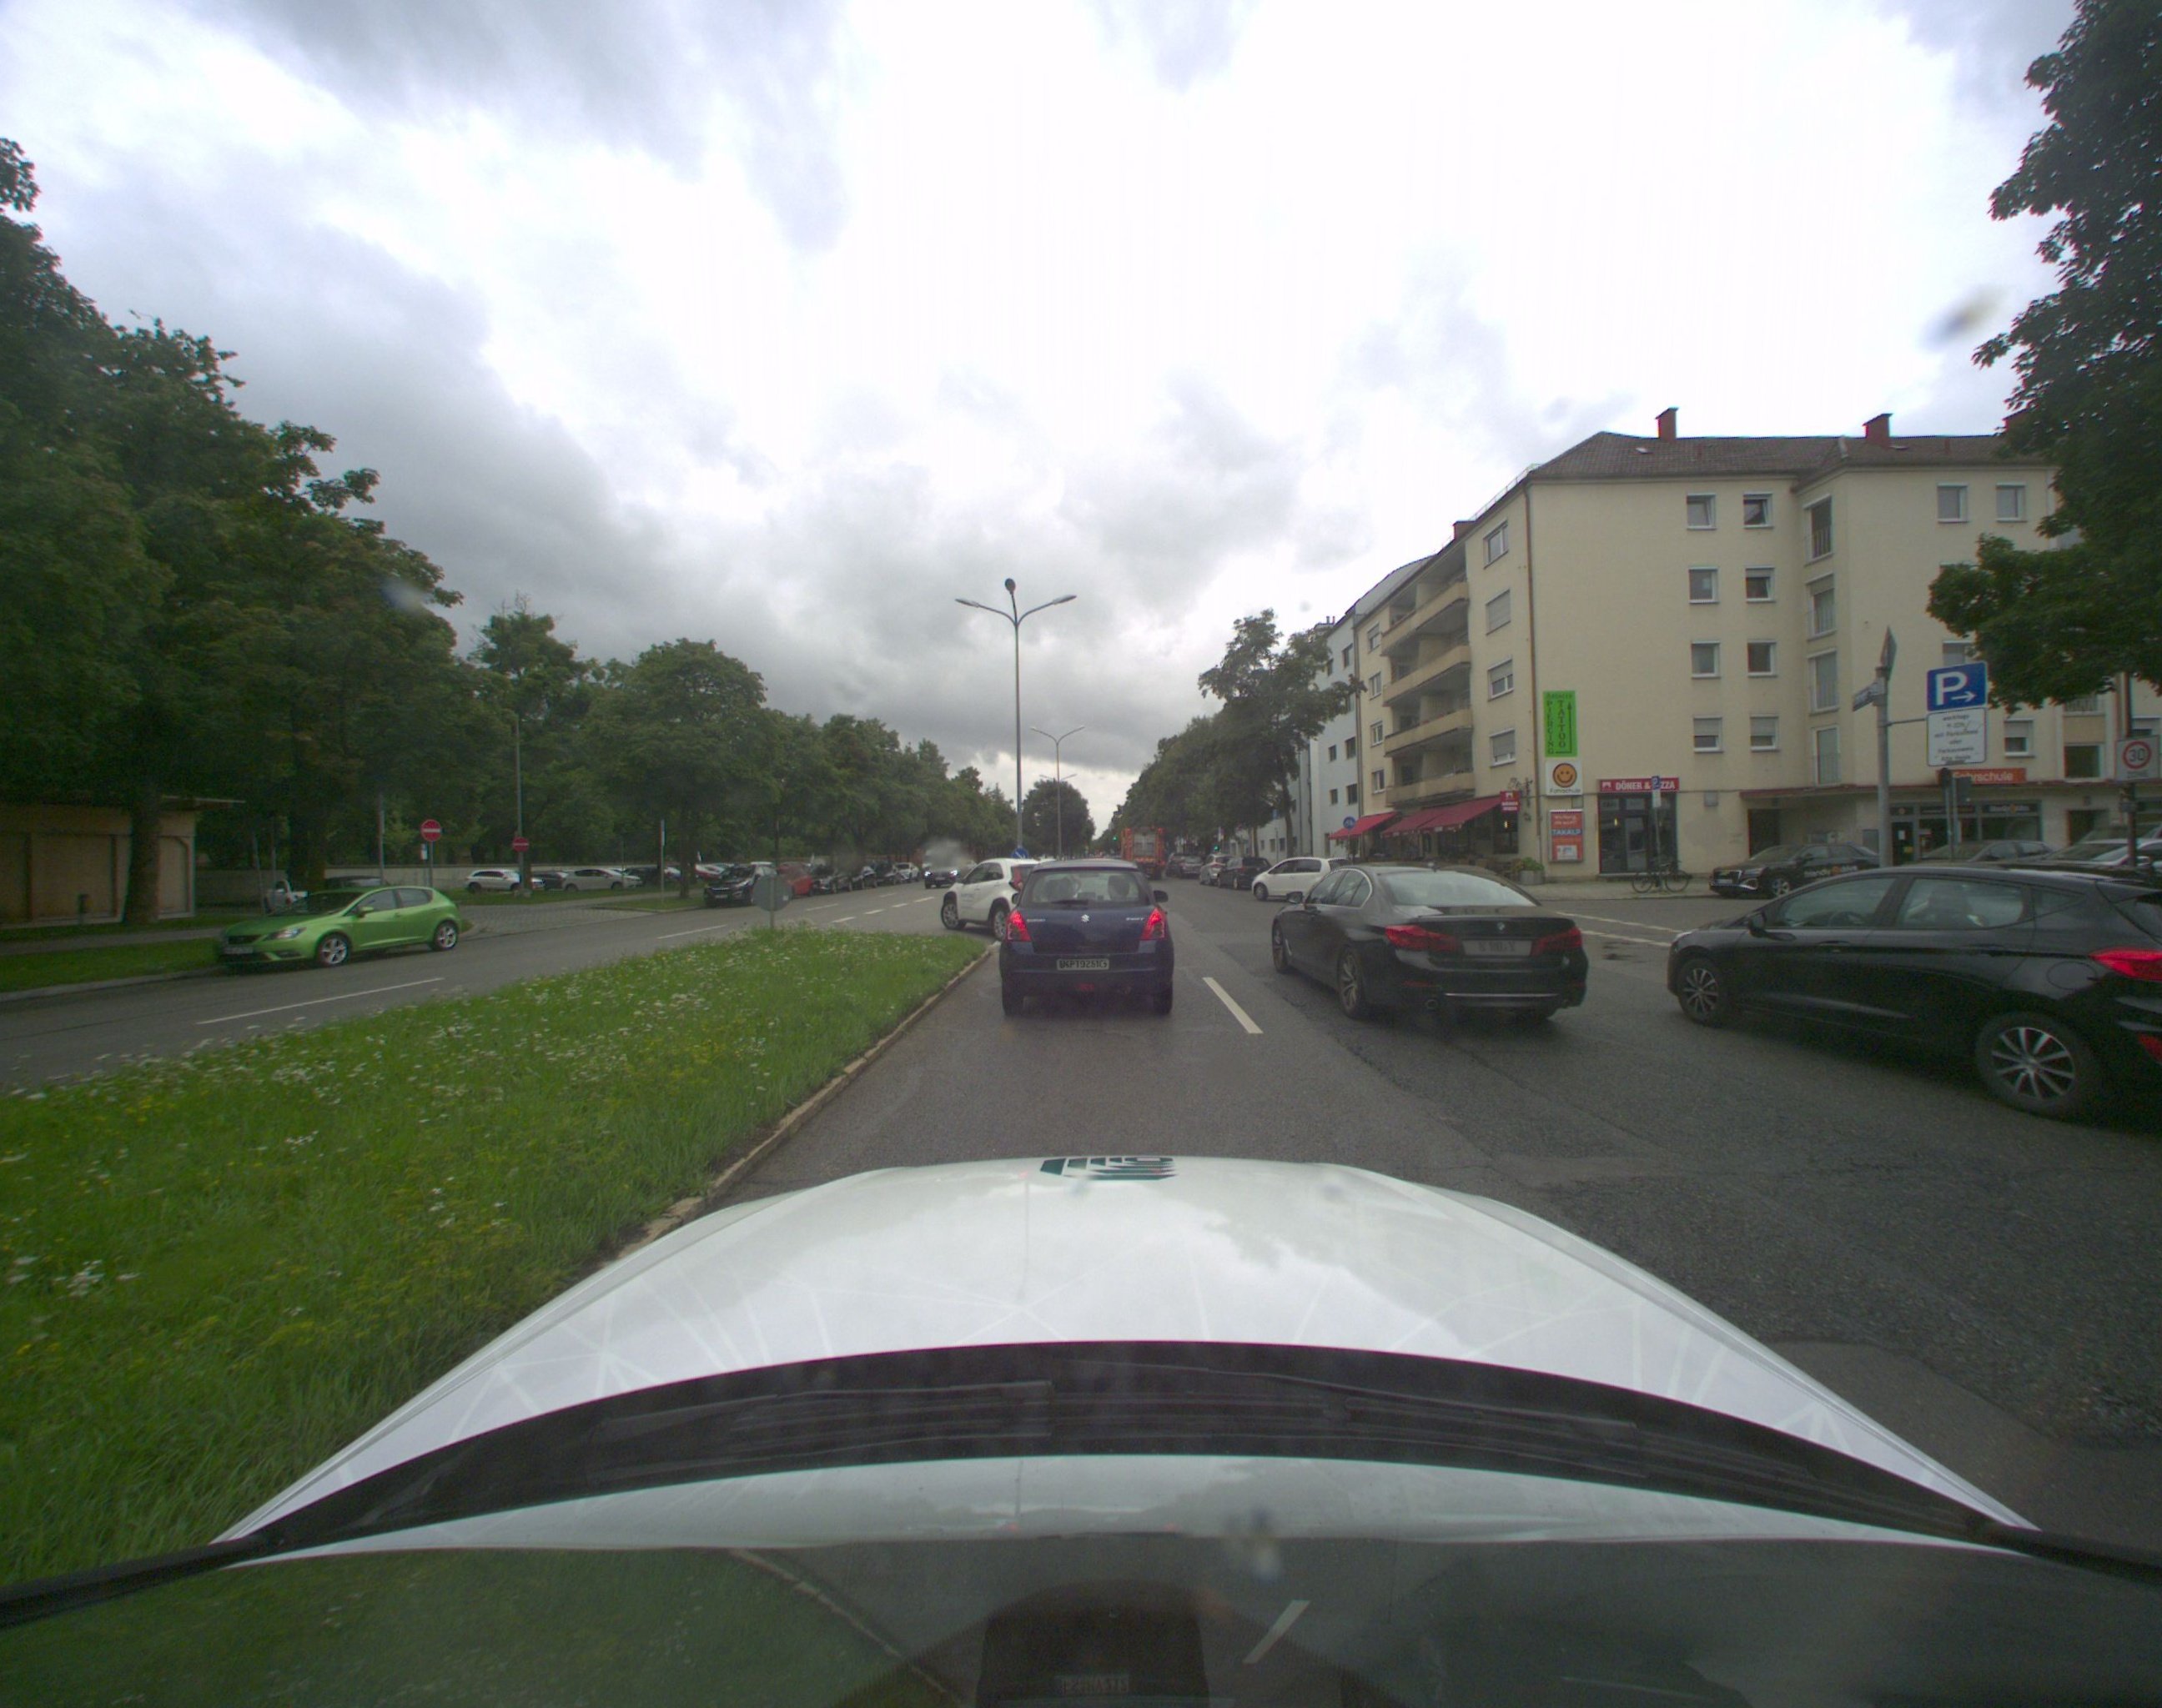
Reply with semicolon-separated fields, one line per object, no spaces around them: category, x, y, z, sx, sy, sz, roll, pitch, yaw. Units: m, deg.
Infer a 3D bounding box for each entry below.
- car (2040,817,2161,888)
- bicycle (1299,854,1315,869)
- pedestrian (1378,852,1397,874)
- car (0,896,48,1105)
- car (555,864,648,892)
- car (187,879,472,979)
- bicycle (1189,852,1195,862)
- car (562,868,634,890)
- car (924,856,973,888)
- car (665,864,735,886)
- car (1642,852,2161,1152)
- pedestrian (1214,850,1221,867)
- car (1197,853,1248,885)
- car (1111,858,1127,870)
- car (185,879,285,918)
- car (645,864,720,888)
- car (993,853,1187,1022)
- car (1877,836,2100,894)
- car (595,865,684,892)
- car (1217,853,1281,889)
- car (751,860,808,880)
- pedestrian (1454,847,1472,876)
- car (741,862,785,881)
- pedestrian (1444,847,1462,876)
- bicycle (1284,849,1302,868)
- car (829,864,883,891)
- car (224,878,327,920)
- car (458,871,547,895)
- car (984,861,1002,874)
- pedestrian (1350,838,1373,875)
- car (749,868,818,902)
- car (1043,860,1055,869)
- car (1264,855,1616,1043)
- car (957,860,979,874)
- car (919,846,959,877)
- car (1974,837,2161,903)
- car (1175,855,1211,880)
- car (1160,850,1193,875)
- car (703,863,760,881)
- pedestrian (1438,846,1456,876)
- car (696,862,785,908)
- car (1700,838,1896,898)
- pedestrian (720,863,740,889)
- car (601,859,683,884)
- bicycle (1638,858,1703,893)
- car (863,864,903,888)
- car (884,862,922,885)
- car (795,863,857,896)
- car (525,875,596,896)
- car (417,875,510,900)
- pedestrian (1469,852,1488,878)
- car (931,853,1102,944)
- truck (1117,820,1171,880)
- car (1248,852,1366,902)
car;30.568;-0.084;22.881;4.968;1.885;1.999;-1;0;-1
bicycle;16.353;0.522;59.017;0.619;1.046;2.196;-1;0;1
pedestrian;16.100;0.473;42.738;0.741;1.163;0.647;-1;0;1
car;-8.037;1.035;3.773;1.714;1.382;3.762;-4;0;-3
car;-26.669;1.331;45.408;3.980;1.442;1.997;-1;0;-5
car;-14.219;1.332;15.786;1.634;1.499;4.002;-3;0;2
bicycle;16.362;0.474;120.173;0.578;1.463;1.689;-1;0;1
car;-38.764;1.982;65.449;4.490;1.625;2.000;-1;0;0
car;-7.282;0.951;45.119;1.815;1.589;4.503;-1;0;1
car;-27.035;1.479;57.903;3.980;1.442;1.997;-1;0;-5
car;6.277;0.738;5.984;1.638;1.477;3.957;-1;0;1
pedestrian;14.141;0.434;84.212;0.498;1.733;0.733;-3;0;1
car;7.172;0.750;41.690;1.823;1.522;4.523;-1;0;0
car;4.758;1.273;103.230;1.823;1.522;3.770;-1;0;0
car;-33.995;1.751;32.703;4.411;1.409;1.871;-1;0;31
car;-26.451;1.429;54.177;3.980;1.442;1.997;-1;0;-5
car;0.148;0.766;9.439;1.746;1.505;4.002;-1;0;2
car;24.943;0.289;22.507;3.975;1.442;1.999;-1;0;-1
car;-26.180;1.423;48.413;4.123;1.442;1.999;-1;0;-2
car;7.411;0.727;36.219;1.825;1.473;3.883;-1;0;-4
car;-24.872;1.321;67.172;3.971;1.570;1.816;-1;0;2
pedestrian;16.320;0.320;34.811;0.536;1.214;0.487;-1;0;1
car;-38.049;2.085;97.540;4.490;2.034;2.000;-1;0;0
pedestrian;16.350;0.328;35.796;0.536;1.268;0.487;-1;0;0
bicycle;16.406;0.378;63.158;0.700;1.407;2.593;-3;0;1
car;-13.415;1.351;48.809;1.814;1.409;4.004;-3;0;3
car;-30.254;1.650;30.558;3.809;1.409;1.871;-1;0;31
car;-38.451;1.946;54.181;4.486;1.442;2.002;-1;0;3
car;-11.757;1.784;109.297;1.881;1.537;4.313;-4;0;-1
pedestrian;15.209;0.138;44.125;0.870;1.929;0.757;-1;0;-15
car;-13.961;1.413;38.452;1.816;1.479;3.809;-1;-1;0
car;-5.517;1.757;141.299;1.809;1.448;4.782;-2;0;0
car;3.379;0.760;8.820;1.815;1.477;4.691;1;0;1
car;-12.476;1.475;89.974;1.851;1.491;4.141;-1;-1;0
car;-12.865;0.619;74.452;2.132;2.643;7.107;-3;0;1
car;24.473;0.342;19.422;4.194;1.442;2.000;-1;0;0
car;7.396;0.869;54.191;1.823;1.522;3.770;-1;0;0
car;6.914;0.583;59.259;1.823;1.746;4.507;-1;0;0
car;-30.096;1.543;70.186;3.980;1.442;1.997;-1;0;-5
pedestrian;16.551;0.300;36.812;0.536;1.339;0.552;-1;0;0
car;-13.778;1.229;33.223;1.816;1.700;4.238;-1;-1;0
car;19.697;0.383;22.493;3.913;1.519;1.730;-1;0;-1
pedestrian;-21.150;1.327;49.114;0.792;1.495;0.856;-2;0;1
car;-27.267;1.072;50.710;3.980;1.442;1.997;-1;0;-5
bicycle;17.717;0.630;24.494;1.532;1.011;0.554;-1;0;4
car;-13.258;1.435;54.813;1.817;1.447;3.995;-3;0;-3
car;-13.175;1.436;60.444;1.816;1.527;4.298;-3;-1;0
car;-13.502;1.314;43.311;1.814;1.599;4.115;-1;0;2
car;-37.607;2.290;58.859;3.967;1.372;1.881;-2;0;5
car;-39.320;2.132;51.934;4.484;1.442;2.003;-1;0;5
pedestrian;16.238;0.453;33.249;0.536;1.054;0.487;-1;0;1
car;-1.384;0.796;16.144;1.834;1.553;3.682;-1;0;-33
truck;4.106;-0.214;55.915;3.030;3.557;13.680;-1;0;2
car;7.244;0.719;26.355;1.699;1.490;3.399;-1;0;-33
